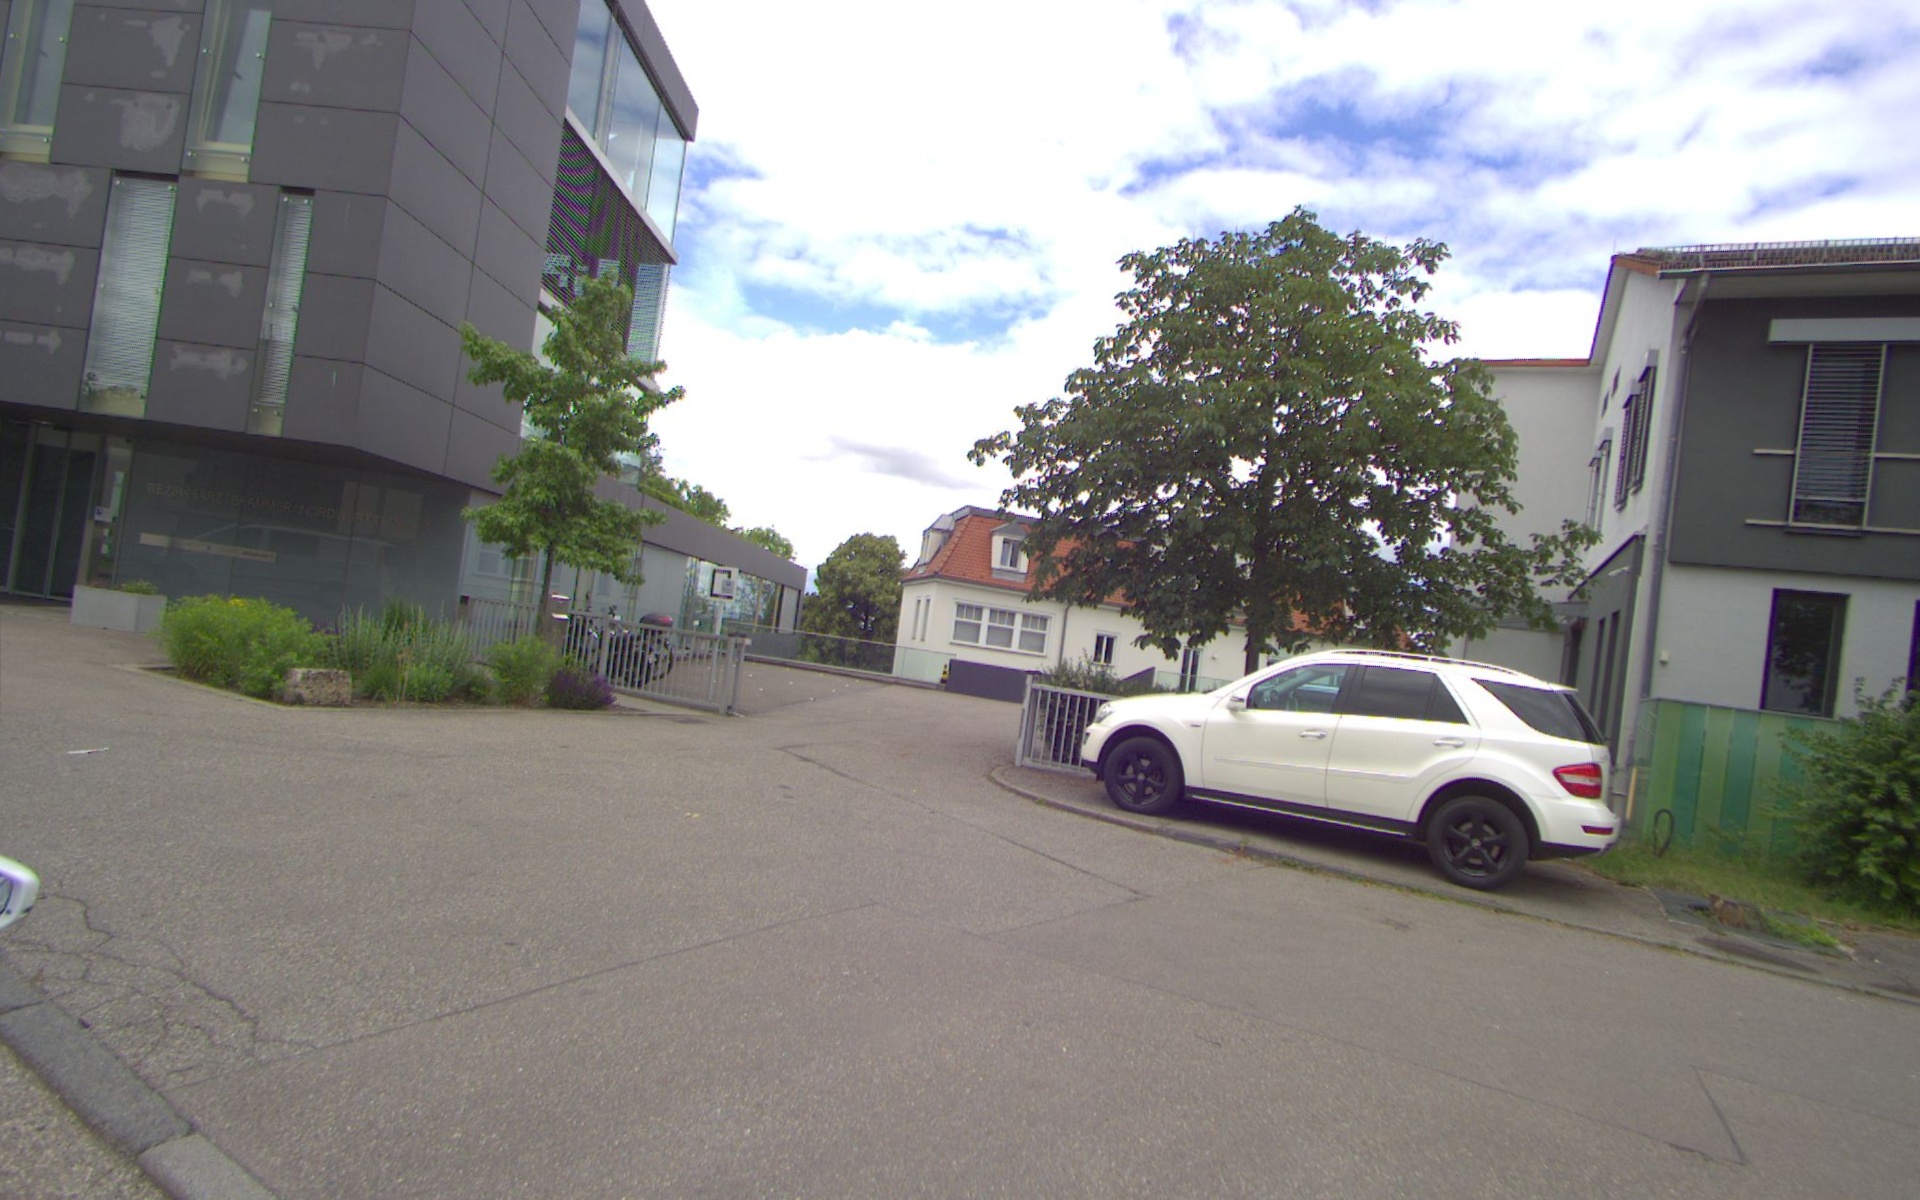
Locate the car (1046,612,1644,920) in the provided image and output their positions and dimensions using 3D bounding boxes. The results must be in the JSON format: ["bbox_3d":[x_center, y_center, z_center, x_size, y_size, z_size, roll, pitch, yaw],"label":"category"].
[{"bbox_3d":[3.378,1.319,9.338,4.643,1.778,1.856,7,-2,31],"label":"car"}]

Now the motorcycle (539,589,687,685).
[{"bbox_3d":[-6.333,0.671,18.395,2.416,1.409,0.671,7,-1,13],"label":"motorcycle"}]

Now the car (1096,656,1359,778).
[{"bbox_3d":[4.690,1.993,17.687,4.142,1.501,1.621,5,-2,25],"label":"car"}]

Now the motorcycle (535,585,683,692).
[{"bbox_3d":[-5.733,0.626,16.452,2.084,1.409,0.671,8,-1,13],"label":"motorcycle"}]
